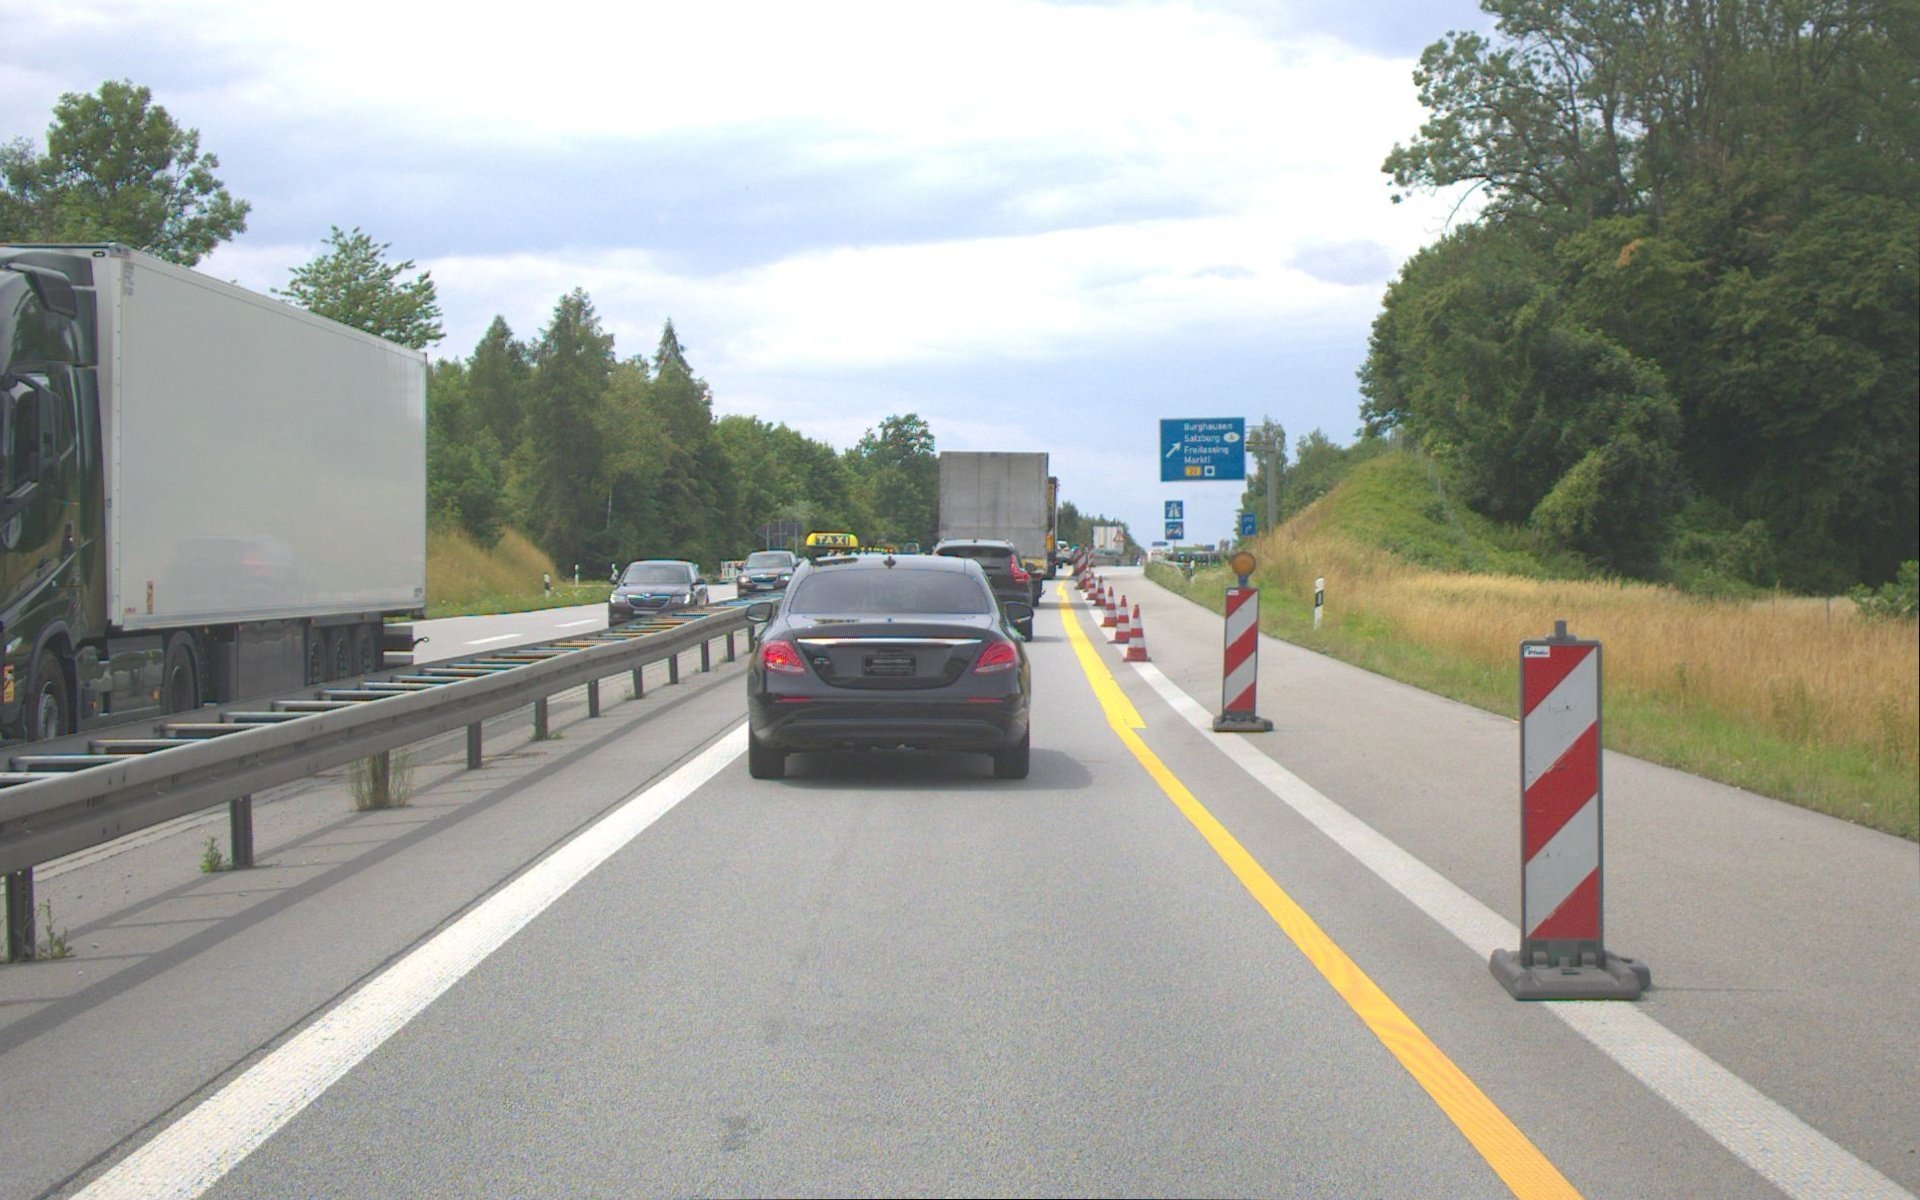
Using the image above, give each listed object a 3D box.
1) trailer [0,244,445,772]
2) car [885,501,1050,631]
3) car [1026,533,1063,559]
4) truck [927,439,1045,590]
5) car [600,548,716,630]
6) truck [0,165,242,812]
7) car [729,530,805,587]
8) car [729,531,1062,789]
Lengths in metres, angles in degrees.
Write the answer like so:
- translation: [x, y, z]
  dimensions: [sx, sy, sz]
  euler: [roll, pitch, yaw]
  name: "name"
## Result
- translation: [-7.343, -0.754, 33.359]
  dimensions: [2.640, 4.156, 12.188]
  euler: [1, 0, 1]
  name: "trailer"
- translation: [0.076, -0.537, 55.974]
  dimensions: [1.993, 2.007, 4.001]
  euler: [1, 0, -10]
  name: "car"
- translation: [4.811, -3.067, 195.905]
  dimensions: [1.649, 1.391, 3.706]
  euler: [1, 0, -5]
  name: "car"
- translation: [0.601, -2.015, 83.526]
  dimensions: [2.586, 3.512, 4.813]
  euler: [1, 0, -2]
  name: "truck"
- translation: [-6.188, -0.225, 70.794]
  dimensions: [1.993, 1.612, 4.000]
  euler: [1, 0, 0]
  name: "car"
- translation: [-7.452, -0.738, 25.476]
  dimensions: [2.640, 4.156, 6.985]
  euler: [1, 0, 1]
  name: "truck"
- translation: [-5.740, -1.223, 102.520]
  dimensions: [1.993, 1.612, 4.000]
  euler: [1, 0, 0]
  name: "car"
- translation: [-0.345, 0.367, 23.194]
  dimensions: [1.796, 1.554, 3.999]
  euler: [1, 0, 5]
  name: "car"
